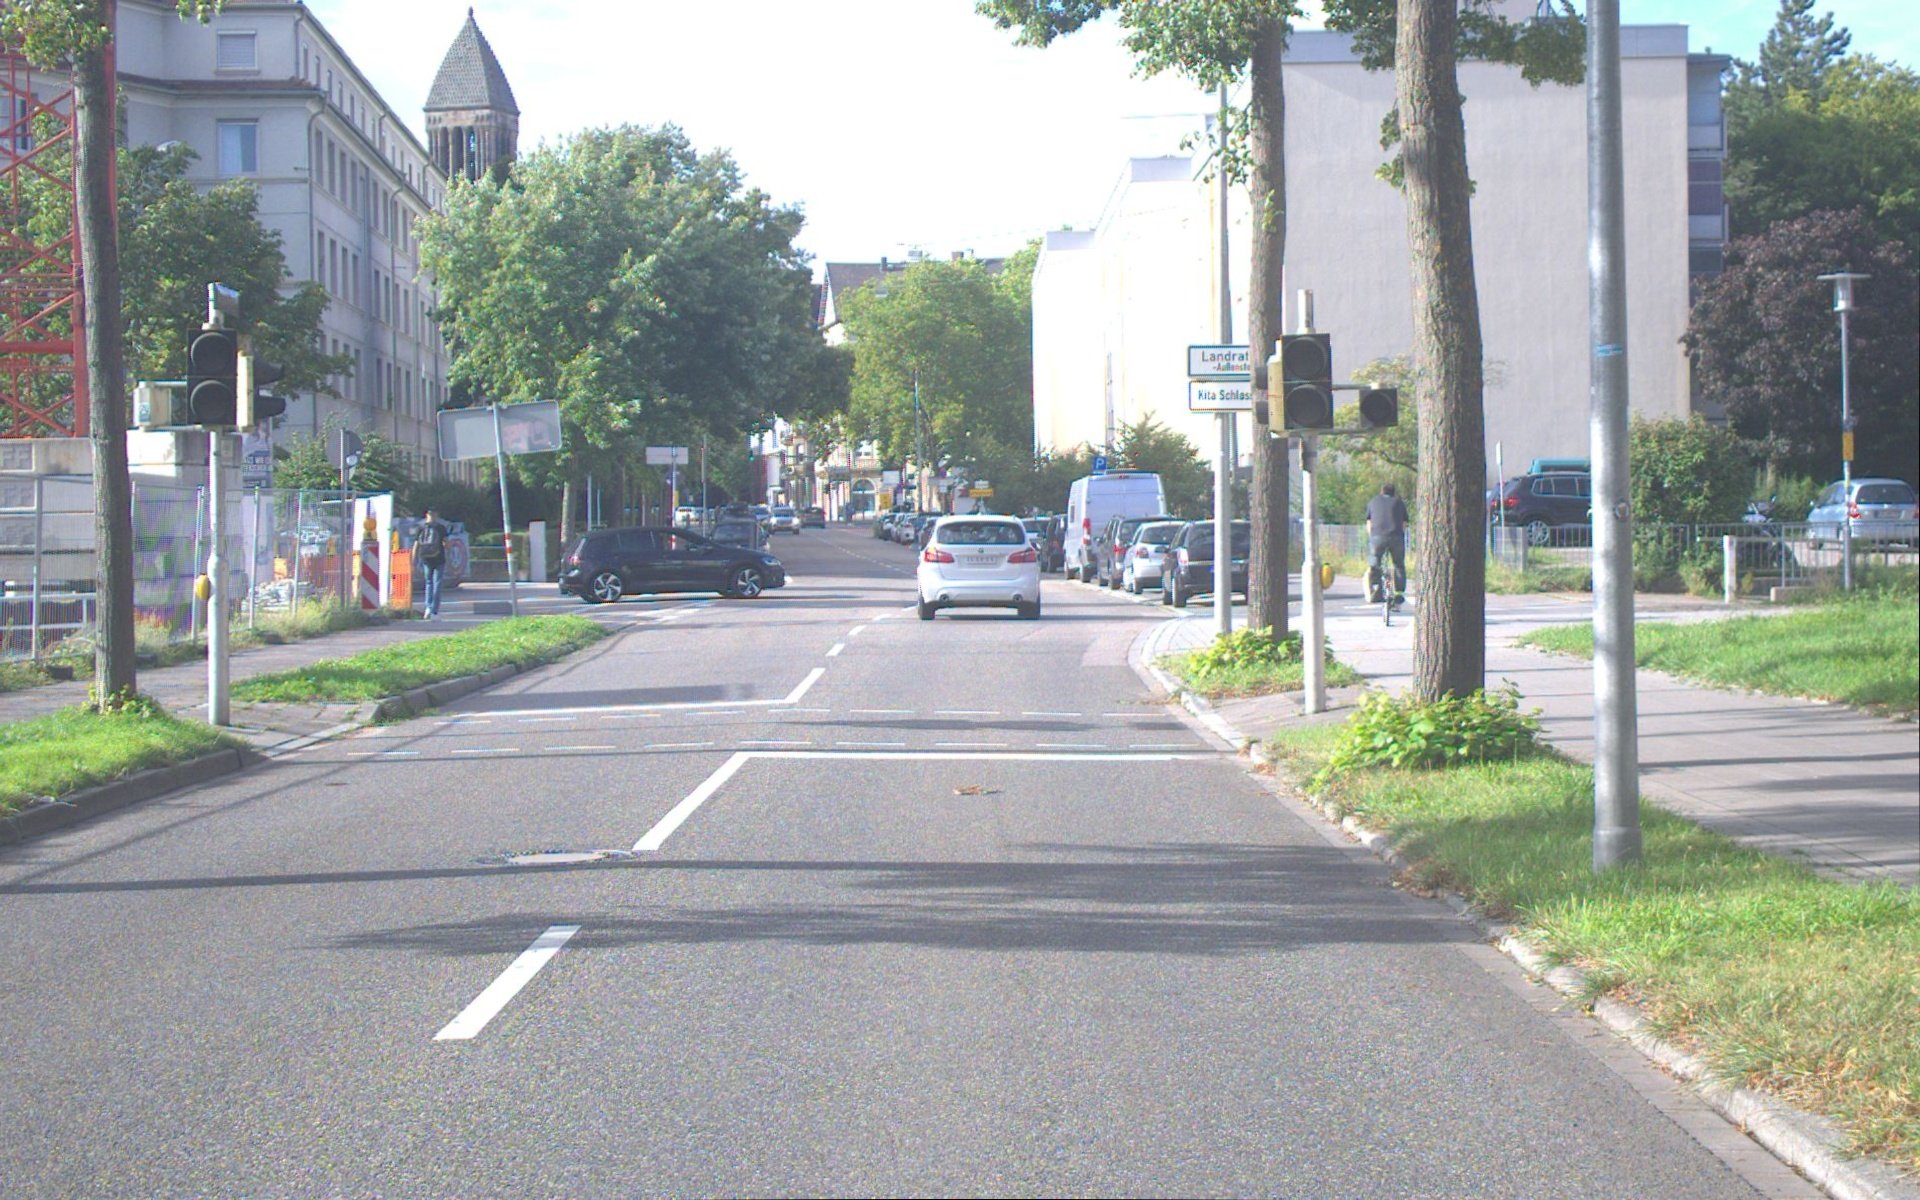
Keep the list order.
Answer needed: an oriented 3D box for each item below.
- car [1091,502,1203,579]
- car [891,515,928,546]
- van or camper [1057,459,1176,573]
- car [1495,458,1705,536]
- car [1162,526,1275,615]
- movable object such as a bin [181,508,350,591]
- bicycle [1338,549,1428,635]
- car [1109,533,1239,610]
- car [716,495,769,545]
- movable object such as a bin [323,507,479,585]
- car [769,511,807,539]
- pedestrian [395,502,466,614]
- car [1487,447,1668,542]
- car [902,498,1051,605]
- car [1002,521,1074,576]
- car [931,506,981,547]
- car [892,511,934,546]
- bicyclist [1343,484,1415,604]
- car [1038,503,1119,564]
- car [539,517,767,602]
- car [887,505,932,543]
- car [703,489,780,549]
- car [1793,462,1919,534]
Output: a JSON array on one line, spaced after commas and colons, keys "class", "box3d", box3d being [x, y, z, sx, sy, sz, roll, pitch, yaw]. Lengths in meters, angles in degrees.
[{"class": "car", "box3d": [4.150, -1.359, 76.896, 1.993, 1.610, 4.409, -2, 2, -3]}, {"class": "car", "box3d": [-2.816, -3.866, 191.479, 1.993, 1.749, 4.000, 0, 1, 0]}, {"class": "van or camper", "box3d": [3.739, -2.034, 83.080, 2.209, 2.598, 5.373, -2, 2, -4]}, {"class": "car", "box3d": [14.498, -2.331, 78.046, 4.449, 1.616, 2.000, -2, 2, 4]}, {"class": "car", "box3d": [4.506, -0.536, 60.406, 1.717, 1.491, 4.268, -1, 1, 1]}, {"class": "movable object such as a bin", "box3d": [-14.503, -1.068, 71.815, 3.105, 1.702, 1.546, 0, 1, 15]}, {"class": "bicycle", "box3d": [5.466, -0.123, 44.593, 0.740, 1.031, 2.762, -3, 1, -1]}, {"class": "car", "box3d": [4.418, -0.617, 71.778, 2.015, 1.470, 4.803, -2, 1, -4]}, {"class": "car", "box3d": [-9.225, -3.413, 146.087, 1.993, 2.006, 4.001, -2, 2, -1]}, {"class": "movable object such as a bin", "box3d": [-12.392, -1.197, 76.218, 3.105, 1.702, 1.409, 0, 1, 14]}, {"class": "car", "box3d": [-10.720, -4.693, 214.379, 2.055, 1.658, 3.927, -2, 2, -6]}, {"class": "pedestrian", "box3d": [-8.244, -0.653, 53.518, 1.006, 1.722, 1.178, -1, 0, -12]}, {"class": "car", "box3d": [15.085, -2.586, 84.145, 4.120, 2.178, 2.000, -2, 2, 4]}, {"class": "car", "box3d": [0.206, -0.747, 52.042, 1.993, 1.549, 4.275, 0, 1, -3]}, {"class": "car", "box3d": [2.362, -1.586, 104.648, 1.993, 1.568, 4.001, -2, 2, -1]}, {"class": "car", "box3d": [-0.180, -3.052, 142.150, 1.993, 1.568, 4.001, -2, 2, -1]}, {"class": "car", "box3d": [-2.300, -3.546, 170.668, 1.993, 1.749, 4.000, 0, 1, 0]}, {"class": "bicyclist", "box3d": [5.424, -0.726, 44.572, 0.737, 1.508, 0.875, -3, 1, 0]}, {"class": "car", "box3d": [3.216, -1.829, 94.022, 1.993, 1.568, 4.001, -2, 2, -1]}, {"class": "car", "box3d": [-5.826, -0.788, 65.077, 3.986, 1.565, 2.001, -1, 2, -15]}, {"class": "car", "box3d": [-2.335, -3.556, 160.585, 1.993, 1.749, 4.000, 0, 1, 0]}, {"class": "car", "box3d": [-6.350, -2.346, 99.484, 1.993, 1.634, 4.001, -2, 2, -6]}, {"class": "car", "box3d": [19.001, -2.136, 71.874, 1.993, 1.437, 4.001, -2, 2, -3]}]
